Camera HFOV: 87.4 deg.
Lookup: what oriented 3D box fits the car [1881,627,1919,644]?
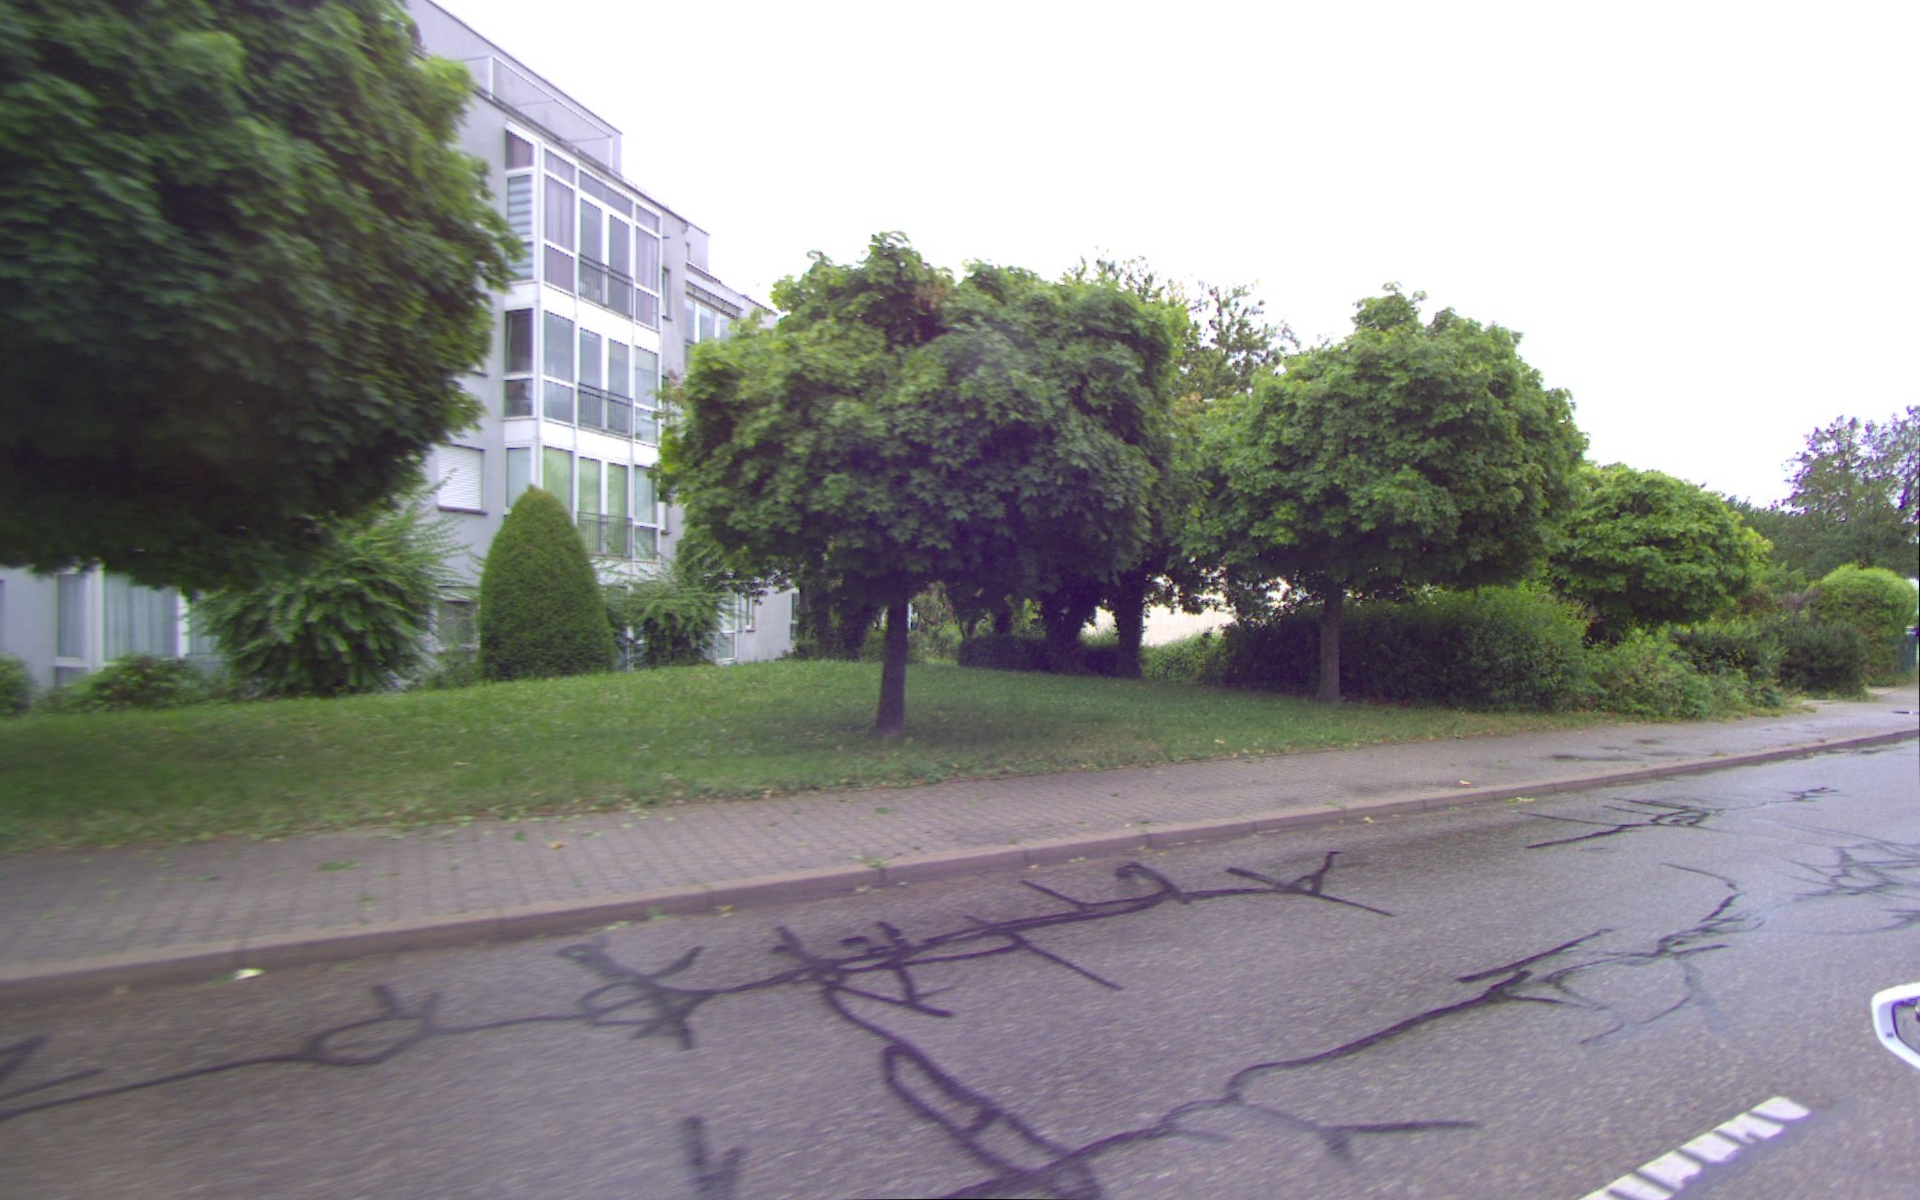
[{"bbox_3d":[86.554,3.202,91.215,3.923,1.461,1.846,1,-1,24],"label":"car"}]
